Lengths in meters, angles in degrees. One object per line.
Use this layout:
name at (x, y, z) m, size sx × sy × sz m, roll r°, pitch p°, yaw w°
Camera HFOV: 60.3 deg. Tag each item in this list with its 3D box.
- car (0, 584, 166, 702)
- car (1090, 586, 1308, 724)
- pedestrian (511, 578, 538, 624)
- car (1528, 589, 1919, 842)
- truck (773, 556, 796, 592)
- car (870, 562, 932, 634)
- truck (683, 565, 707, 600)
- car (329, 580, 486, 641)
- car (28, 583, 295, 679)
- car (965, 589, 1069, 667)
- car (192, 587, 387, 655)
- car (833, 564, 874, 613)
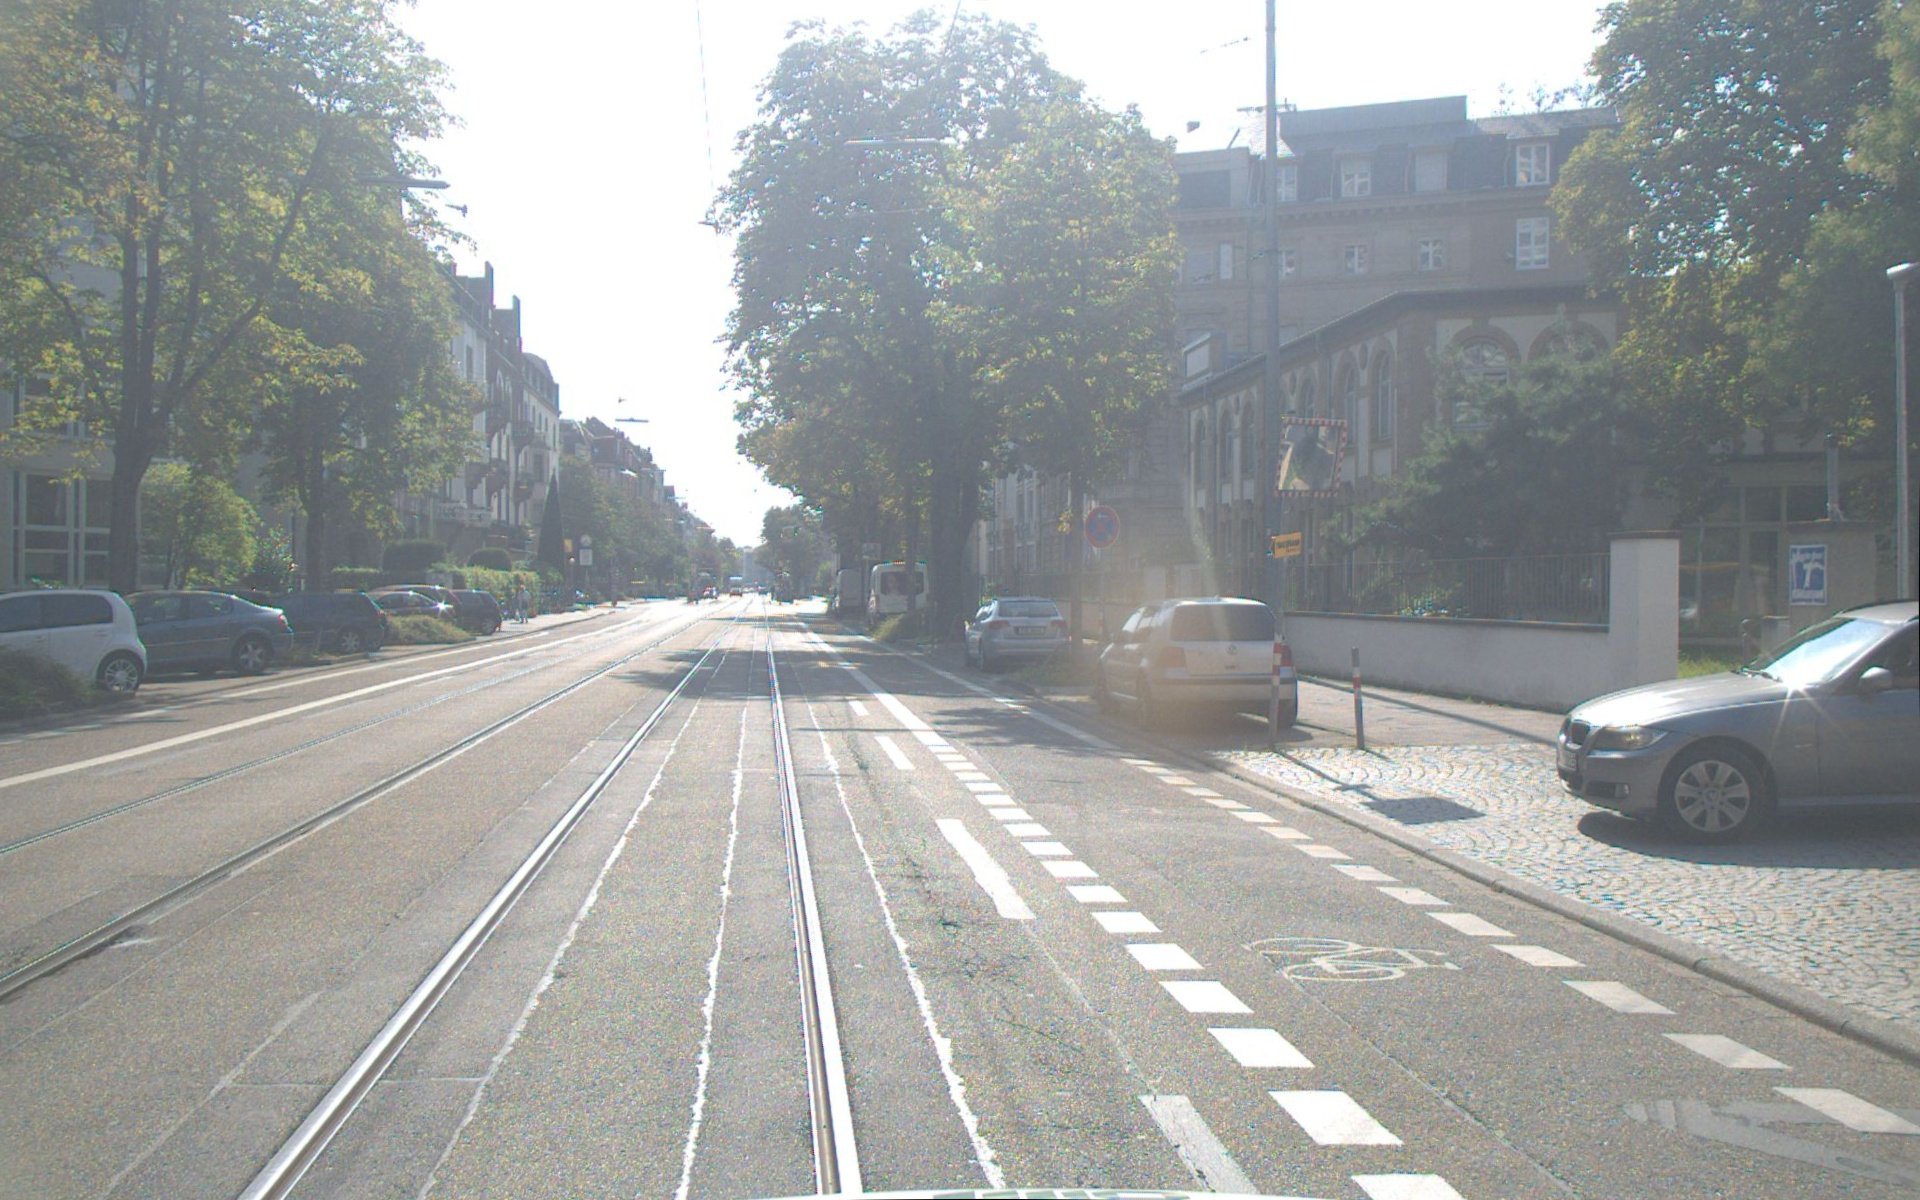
car at (-12.466, 0.528, 21.381) m, size 1.537 × 1.468 × 3.753 m, roll 1°, pitch 0°, yaw 33°
car at (2.658, 0.564, 19.136) m, size 1.657 × 1.443 × 3.630 m, roll 0°, pitch 0°, yaw -6°
pedestrian at (-17.304, 0.030, 65.682) m, size 0.943 × 1.791 × 0.660 m, roll 0°, pitch 0°, yaw -8°
car at (6.258, 0.668, 11.011) m, size 4.327 × 1.434 × 1.807 m, roll -3°, pitch 0°, yaw 6°
truck at (-15.730, -2.285, 148.000) m, size 1.826 × 3.185 × 4.344 m, roll 0°, pitch 0°, yaw -9°
car at (-2.207, -0.091, 60.580) m, size 1.966 × 2.534 × 4.471 m, roll 0°, pitch 0°, yaw -6°
truck at (-23.535, -1.555, 147.033) m, size 1.956 × 3.027 × 4.563 m, roll 0°, pitch 0°, yaw -7°
car at (-15.711, 0.275, 47.096) m, size 3.952 × 1.668 × 1.671 m, roll 0°, pitch 0°, yaw -34°
car at (-13.238, 0.471, 27.581) m, size 1.540 × 1.468 × 3.748 m, roll 1°, pitch 0°, yaw 37°
car at (1.074, 0.516, 32.671) m, size 1.564 × 1.443 × 3.630 m, roll 0°, pitch 0°, yaw -6°
car at (-14.758, 0.431, 36.546) m, size 1.540 × 1.431 × 3.748 m, roll 1°, pitch 0°, yaw 37°
car at (-5.636, -0.611, 87.304) m, size 1.966 × 2.518 × 4.471 m, roll 0°, pitch 0°, yaw -6°
